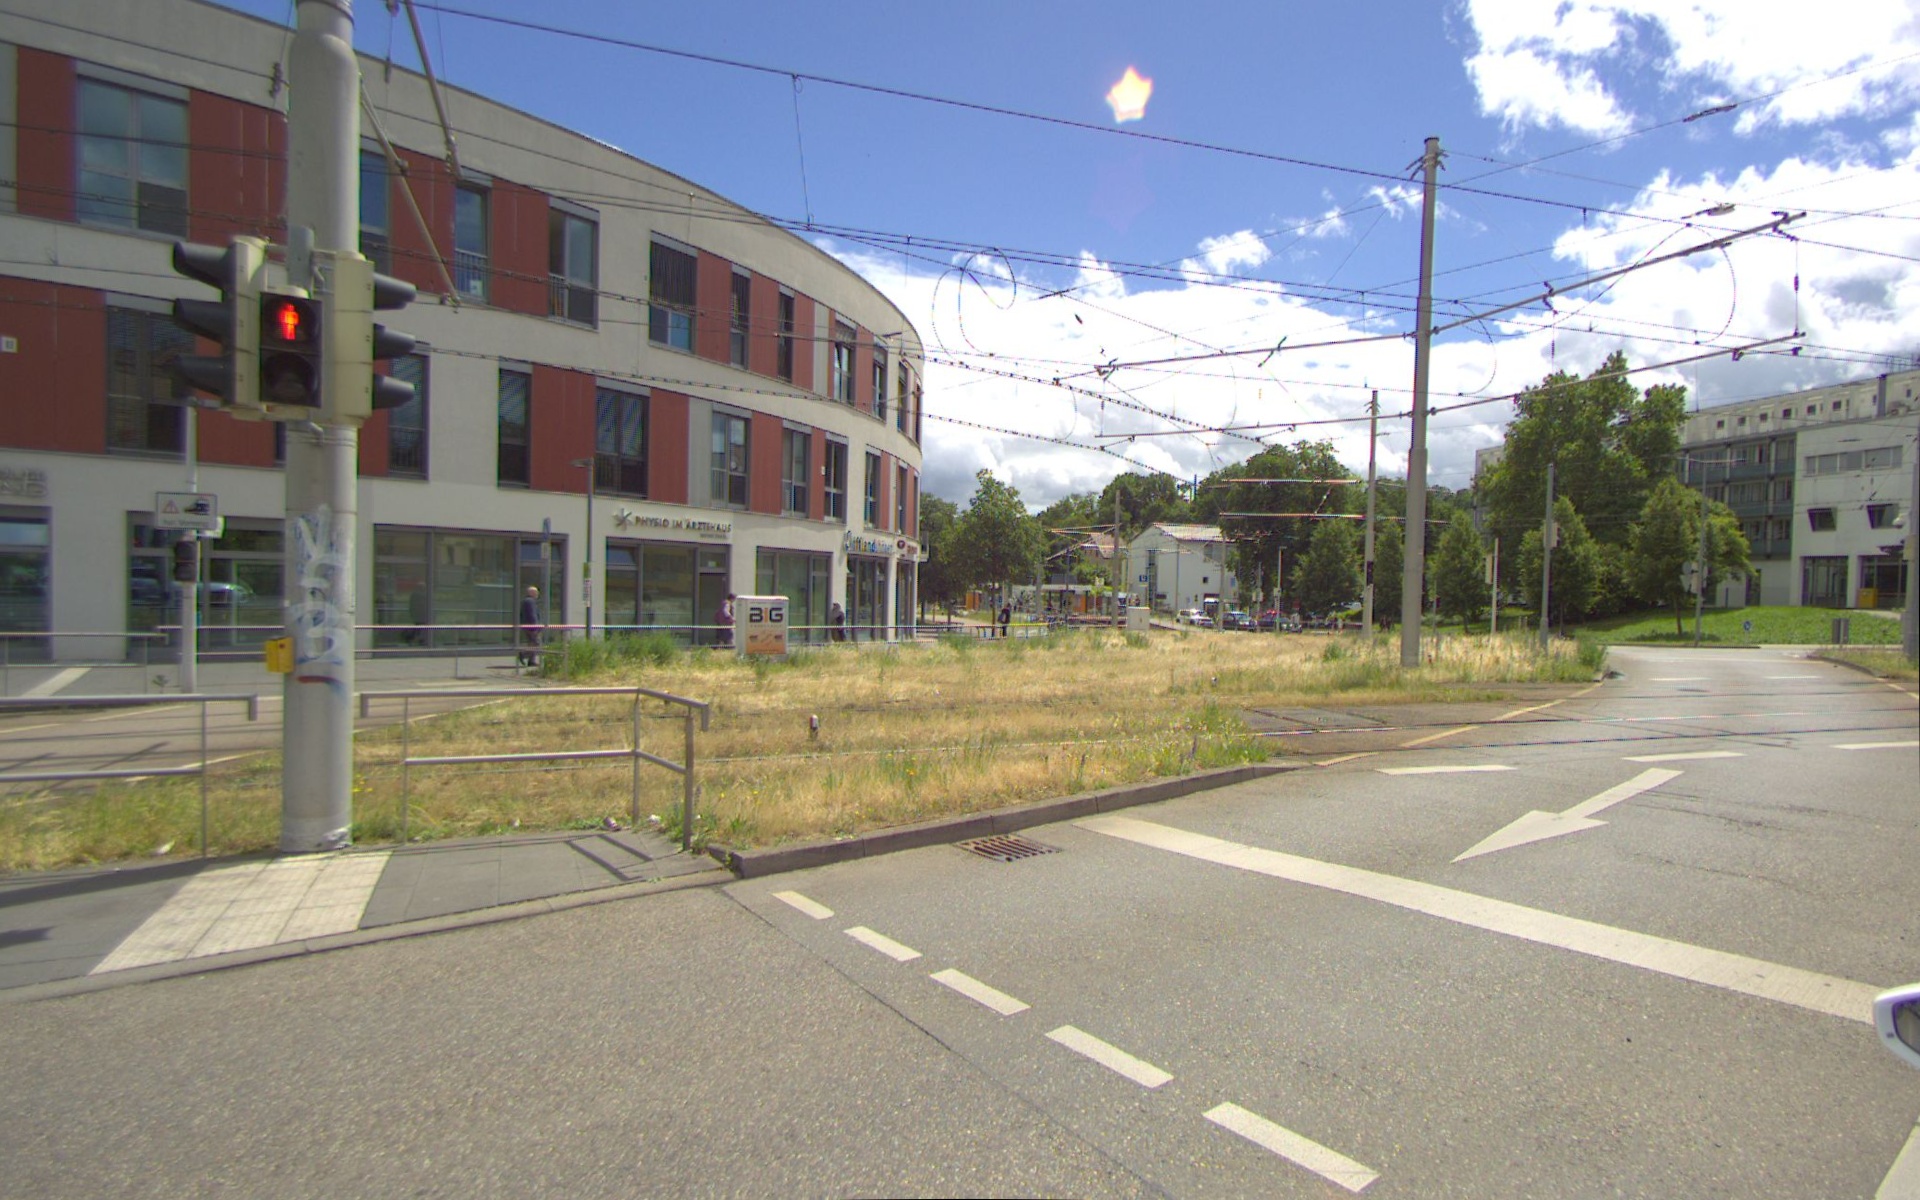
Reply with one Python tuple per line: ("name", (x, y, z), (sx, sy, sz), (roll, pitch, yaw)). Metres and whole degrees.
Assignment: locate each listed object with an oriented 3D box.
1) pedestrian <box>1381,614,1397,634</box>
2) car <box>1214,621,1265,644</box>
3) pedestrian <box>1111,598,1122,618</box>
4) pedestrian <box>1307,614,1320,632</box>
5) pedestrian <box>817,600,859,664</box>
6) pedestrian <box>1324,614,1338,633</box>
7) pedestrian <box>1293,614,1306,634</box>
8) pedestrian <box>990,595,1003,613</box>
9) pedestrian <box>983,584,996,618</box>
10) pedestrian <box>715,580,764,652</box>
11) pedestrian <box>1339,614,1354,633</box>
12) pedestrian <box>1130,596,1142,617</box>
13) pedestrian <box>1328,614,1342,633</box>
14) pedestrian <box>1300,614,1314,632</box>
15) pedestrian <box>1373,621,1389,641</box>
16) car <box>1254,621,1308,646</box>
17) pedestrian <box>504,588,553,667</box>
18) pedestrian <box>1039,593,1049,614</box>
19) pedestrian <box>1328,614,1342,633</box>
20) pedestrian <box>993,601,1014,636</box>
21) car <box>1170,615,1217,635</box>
("pedestrian", (34.293, 1.941, 80.288), (0.829, 1.597, 0.812), (0, 0, -20))
("car", (21.167, 2.458, 76.276), (1.886, 1.672, 4.244), (2, -1, -14))
("pedestrian", (13.339, 0.699, 85.416), (0.743, 1.707, 0.672), (0, 0, -11))
("pedestrian", (31.897, 2.074, 90.664), (0.829, 1.597, 0.812), (0, 0, -20))
("pedestrian", (-3.913, 1.026, 32.223), (0.848, 1.994, 1.115), (1, -1, 26))
("pedestrian", (32.371, 2.032, 87.735), (0.829, 1.597, 0.812), (0, 0, -20))
("pedestrian", (31.946, 2.283, 94.471), (0.817, 1.891, 0.818), (1, 0, -11))
("pedestrian", (4.284, 0.456, 119.079), (1.239, 2.040, 1.122), (1, -1, -14))
("pedestrian", (5.148, 0.178, 177.204), (1.962, 5.999, 2.370), (1, -1, -4))
("pedestrian", (-6.240, 0.464, 28.457), (1.093, 1.994, 0.857), (2, -1, -32))
("pedestrian", (33.076, 2.011, 85.974), (0.829, 1.597, 0.812), (0, 0, -20))
("pedestrian", (14.467, 0.566, 82.496), (0.823, 1.714, 0.616), (0, 0, -11))
("pedestrian", (32.137, 1.990, 86.123), (0.829, 1.597, 0.812), (0, 0, -20))
("pedestrian", (31.087, 2.042, 89.925), (0.829, 1.597, 0.812), (0, 0, -20))
("pedestrian", (33.468, 2.441, 79.934), (0.829, 1.597, 0.812), (0, 0, -20))
("car", (24.237, 2.524, 76.026), (1.988, 1.814, 4.228), (1, -1, -14))
("pedestrian", (-8.914, 0.556, 20.739), (0.725, 1.601, 0.687), (1, 0, 43))
("pedestrian", (8.530, 0.340, 101.828), (0.806, 2.040, 0.772), (1, -1, -10))
("pedestrian", (32.787, 2.035, 87.763), (0.829, 1.597, 0.812), (0, 0, -20))
("pedestrian", (2.115, 0.901, 48.694), (0.847, 1.646, 0.733), (1, -1, 12))
("car", (19.214, 2.014, 82.786), (1.906, 1.576, 4.480), (2, -1, -14))
